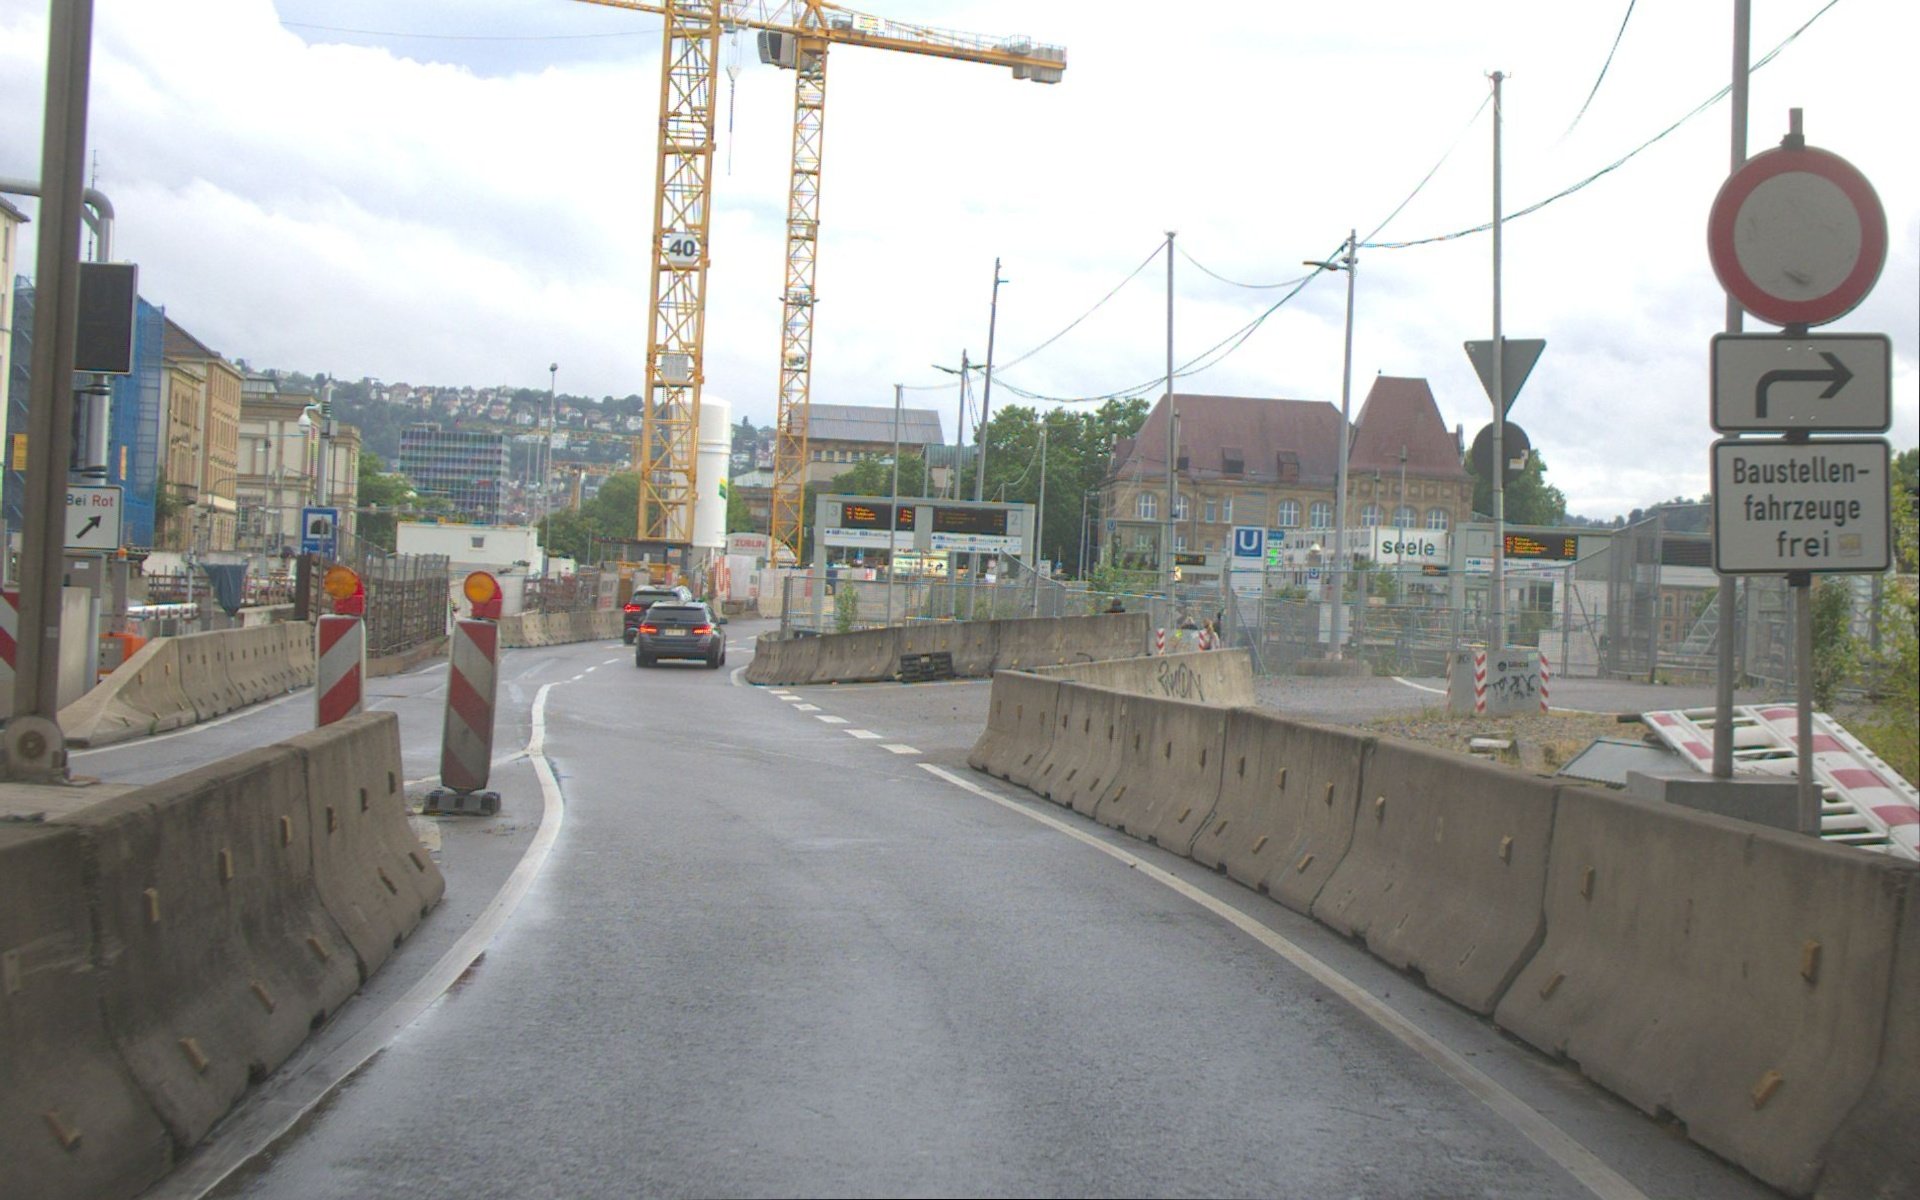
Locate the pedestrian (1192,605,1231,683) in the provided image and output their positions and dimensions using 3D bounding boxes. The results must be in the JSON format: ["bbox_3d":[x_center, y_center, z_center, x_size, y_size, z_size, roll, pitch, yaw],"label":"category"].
[{"bbox_3d":[5.839,1.021,79.802,0.689,1.772,1.023,2,-1,-4],"label":"pedestrian"}]

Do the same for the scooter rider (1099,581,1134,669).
[{"bbox_3d":[3.164,0.506,69.583,0.521,1.749,0.699,2,0,14],"label":"scooter rider"}]

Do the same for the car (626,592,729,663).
[{"bbox_3d":[-6.256,0.607,76.455,1.863,1.428,4.656,3,0,0],"label":"car"}]

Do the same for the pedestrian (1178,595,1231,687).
[{"bbox_3d":[4.804,0.808,67.553,0.689,1.772,0.816,2,-1,-22],"label":"pedestrian"}]

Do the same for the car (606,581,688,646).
[{"bbox_3d":[-8.785,0.357,96.817,1.863,1.655,4.656,3,0,-1],"label":"car"}]
